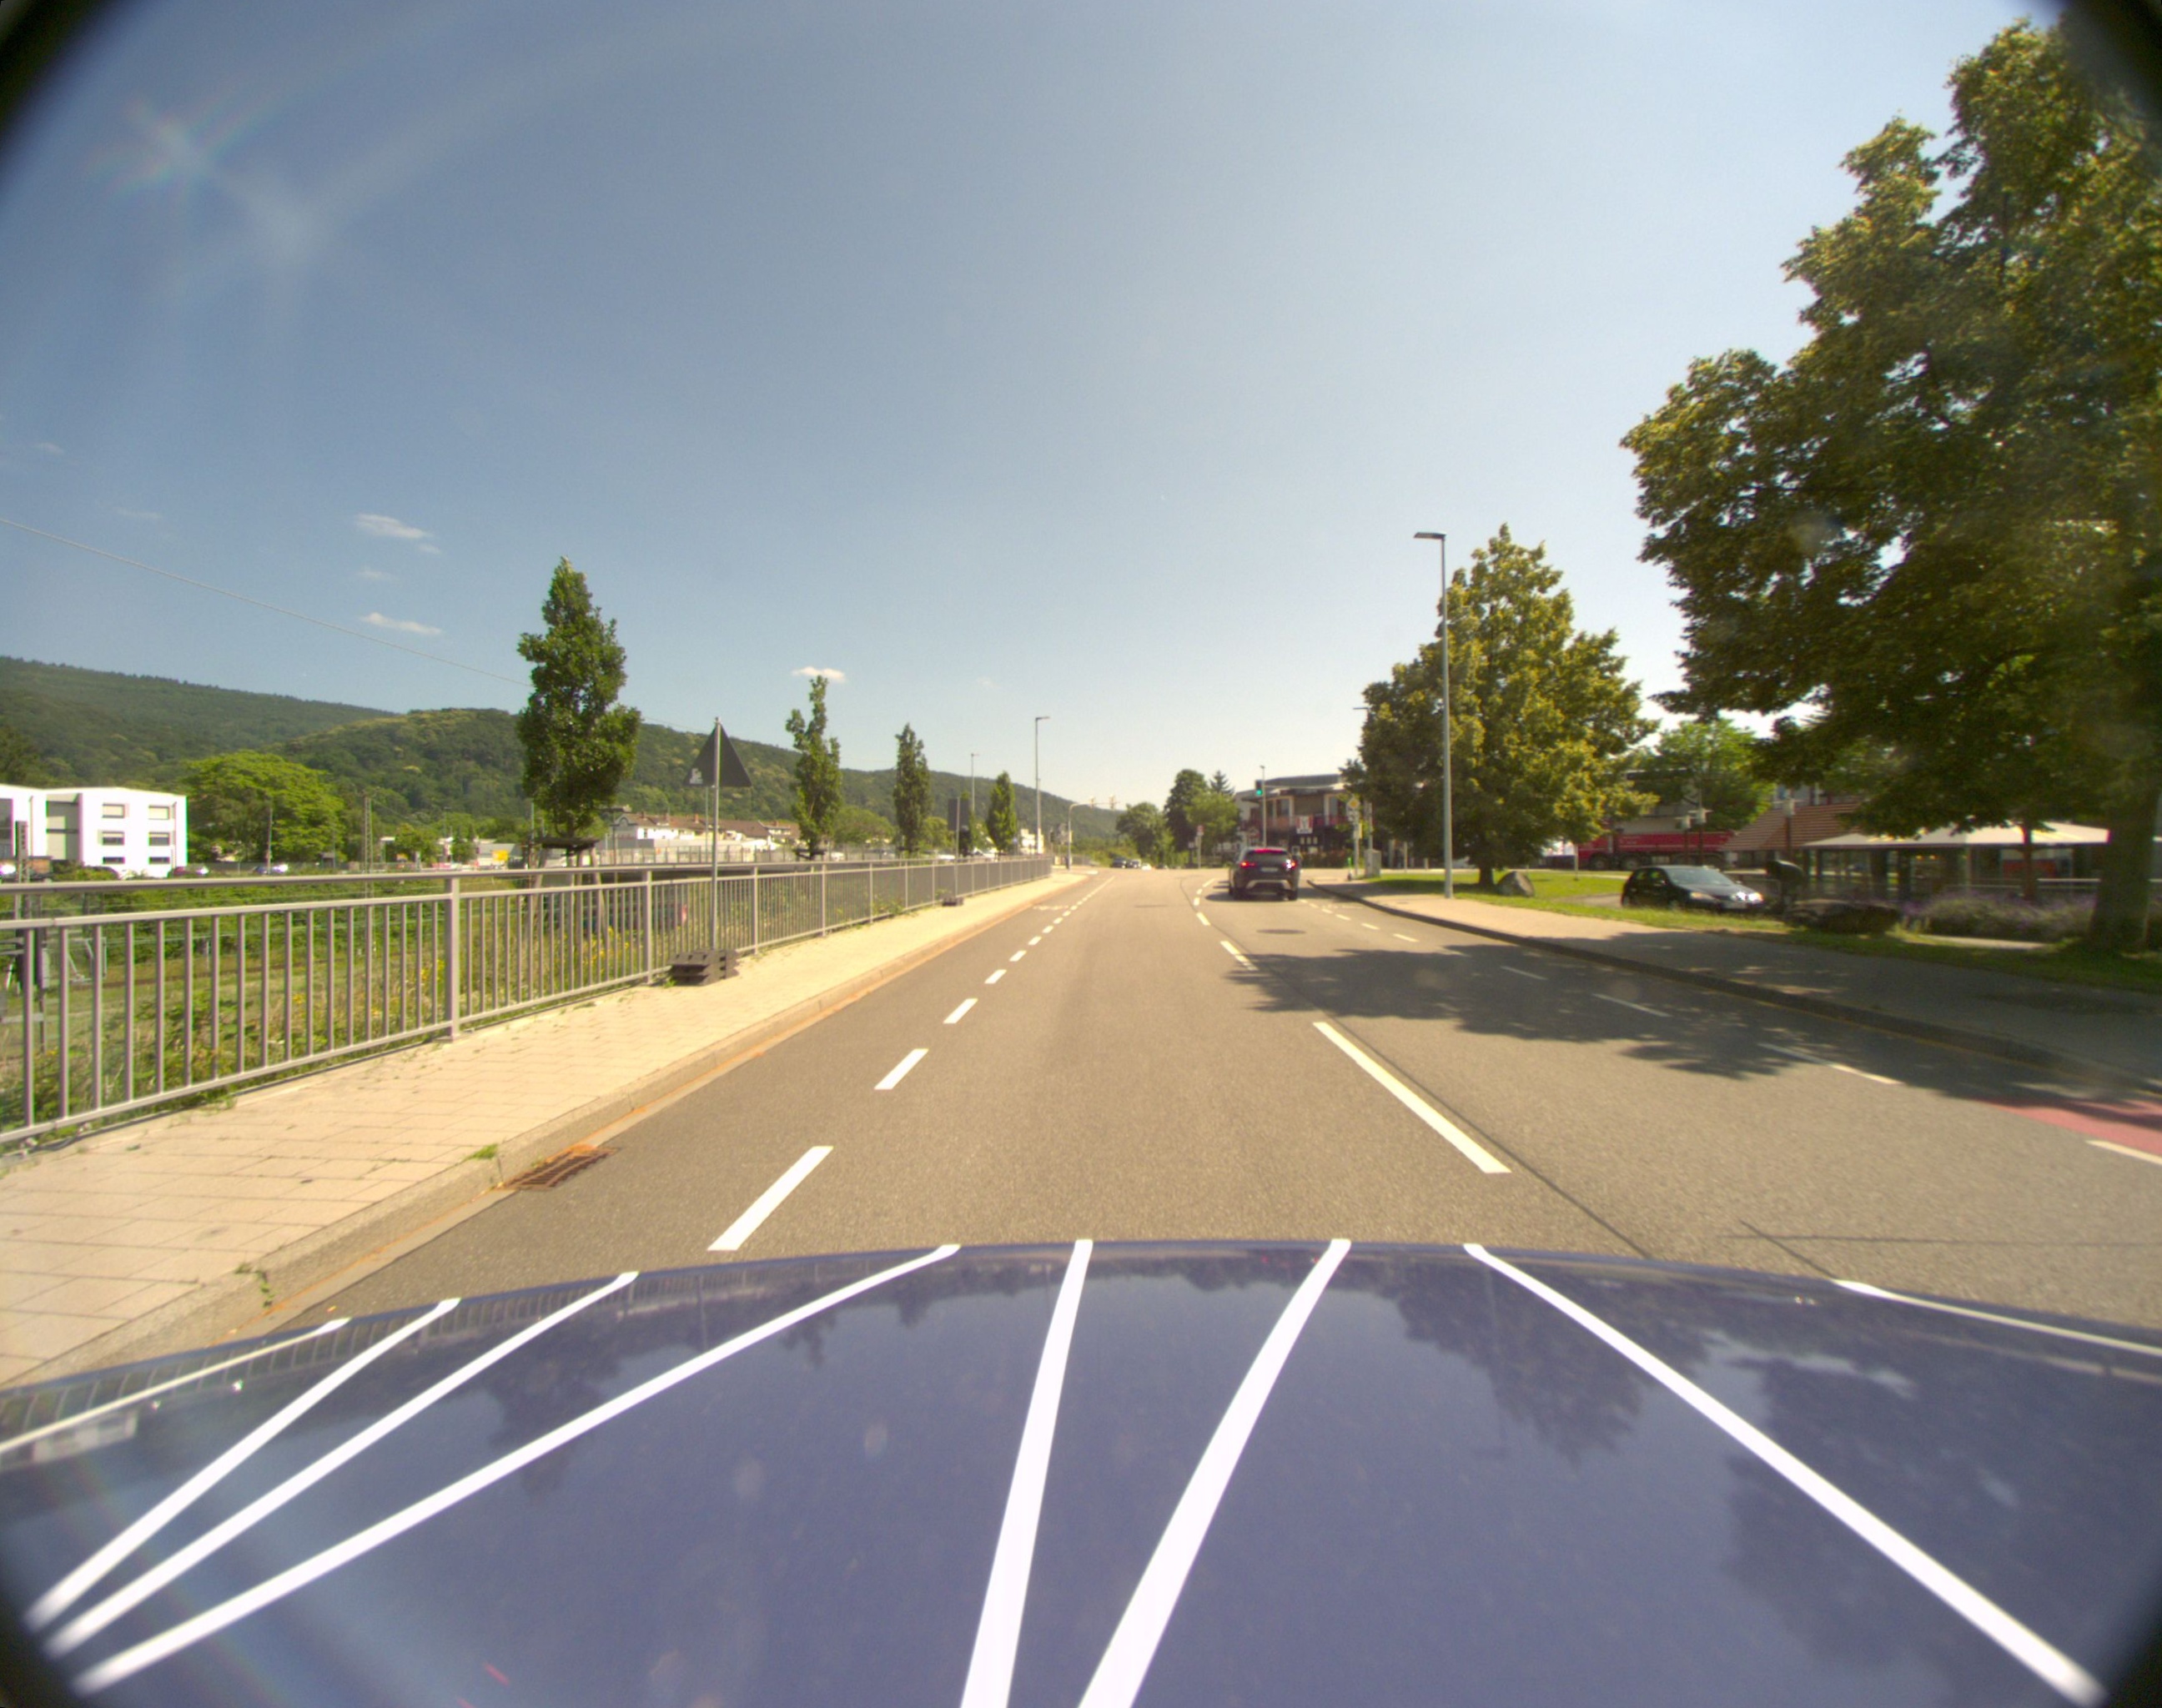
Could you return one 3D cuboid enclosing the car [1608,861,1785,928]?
[{"bbox_3d":[16.138,0.996,20.256,1.863,1.543,4.191,0,0,10],"label":"car"}]

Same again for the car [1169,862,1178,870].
[{"bbox_3d":[18.921,2.411,155.264,1.671,1.524,4.002,0,0,7],"label":"car"}]

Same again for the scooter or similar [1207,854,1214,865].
[{"bbox_3d":[13.268,0.580,77.770,0.426,1.117,1.454,0,0,23],"label":"scooter or similar"}]

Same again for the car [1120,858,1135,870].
[{"bbox_3d":[6.087,1.329,99.164,1.671,1.524,4.002,0,0,7],"label":"car"}]

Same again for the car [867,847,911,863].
[{"bbox_3d":[-19.765,0.114,78.209,4.430,1.617,1.740,0,0,28],"label":"car"}]

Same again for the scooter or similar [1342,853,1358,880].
[{"bbox_3d":[12.141,0.552,34.310,0.472,1.177,1.366,0,0,10],"label":"scooter or similar"}]

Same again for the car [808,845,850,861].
[{"bbox_3d":[-27.085,-0.087,81.636,4.430,1.617,1.740,0,0,27],"label":"car"}]

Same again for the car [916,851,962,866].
[{"bbox_3d":[-13.997,0.420,74.854,4.398,1.461,1.740,0,0,28],"label":"car"}]

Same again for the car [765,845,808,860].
[{"bbox_3d":[-32.747,-0.153,84.471,4.432,1.617,1.739,-1,0,22],"label":"car"}]

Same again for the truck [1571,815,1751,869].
[{"bbox_3d":[38.422,-0.679,50.895,9.144,3.366,3.321,-1,0,28],"label":"truck"}]

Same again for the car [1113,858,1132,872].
[{"bbox_3d":[5.164,1.342,93.844,1.828,1.618,4.240,0,0,9],"label":"car"}]

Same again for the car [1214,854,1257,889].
[{"bbox_3d":[6.569,0.707,32.455,1.658,1.373,4.003,0,0,11],"label":"car"}]

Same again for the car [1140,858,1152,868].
[{"bbox_3d":[10.425,1.393,121.267,1.671,1.524,4.002,0,0,7],"label":"car"}]

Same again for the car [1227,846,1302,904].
[{"bbox_3d":[5.827,0.606,24.597,1.953,1.685,4.616,0,0,8],"label":"car"}]

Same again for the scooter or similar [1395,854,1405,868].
[{"bbox_3d":[27.157,0.592,64.670,0.499,1.117,1.507,0,1,37],"label":"scooter or similar"}]

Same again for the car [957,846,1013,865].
[{"bbox_3d":[-8.586,0.121,68.162,4.621,1.709,2.003,0,0,24],"label":"car"}]

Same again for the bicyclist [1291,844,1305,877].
[{"bbox_3d":[11.957,0.366,41.859,0.711,1.778,0.810,0,1,17],"label":"bicyclist"}]

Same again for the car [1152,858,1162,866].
[{"bbox_3d":[13.886,1.504,138.185,1.671,1.427,4.002,0,0,7],"label":"car"}]

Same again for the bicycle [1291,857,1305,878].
[{"bbox_3d":[11.971,0.730,41.918,0.698,1.098,1.757,2,1,17],"label":"bicycle"}]
